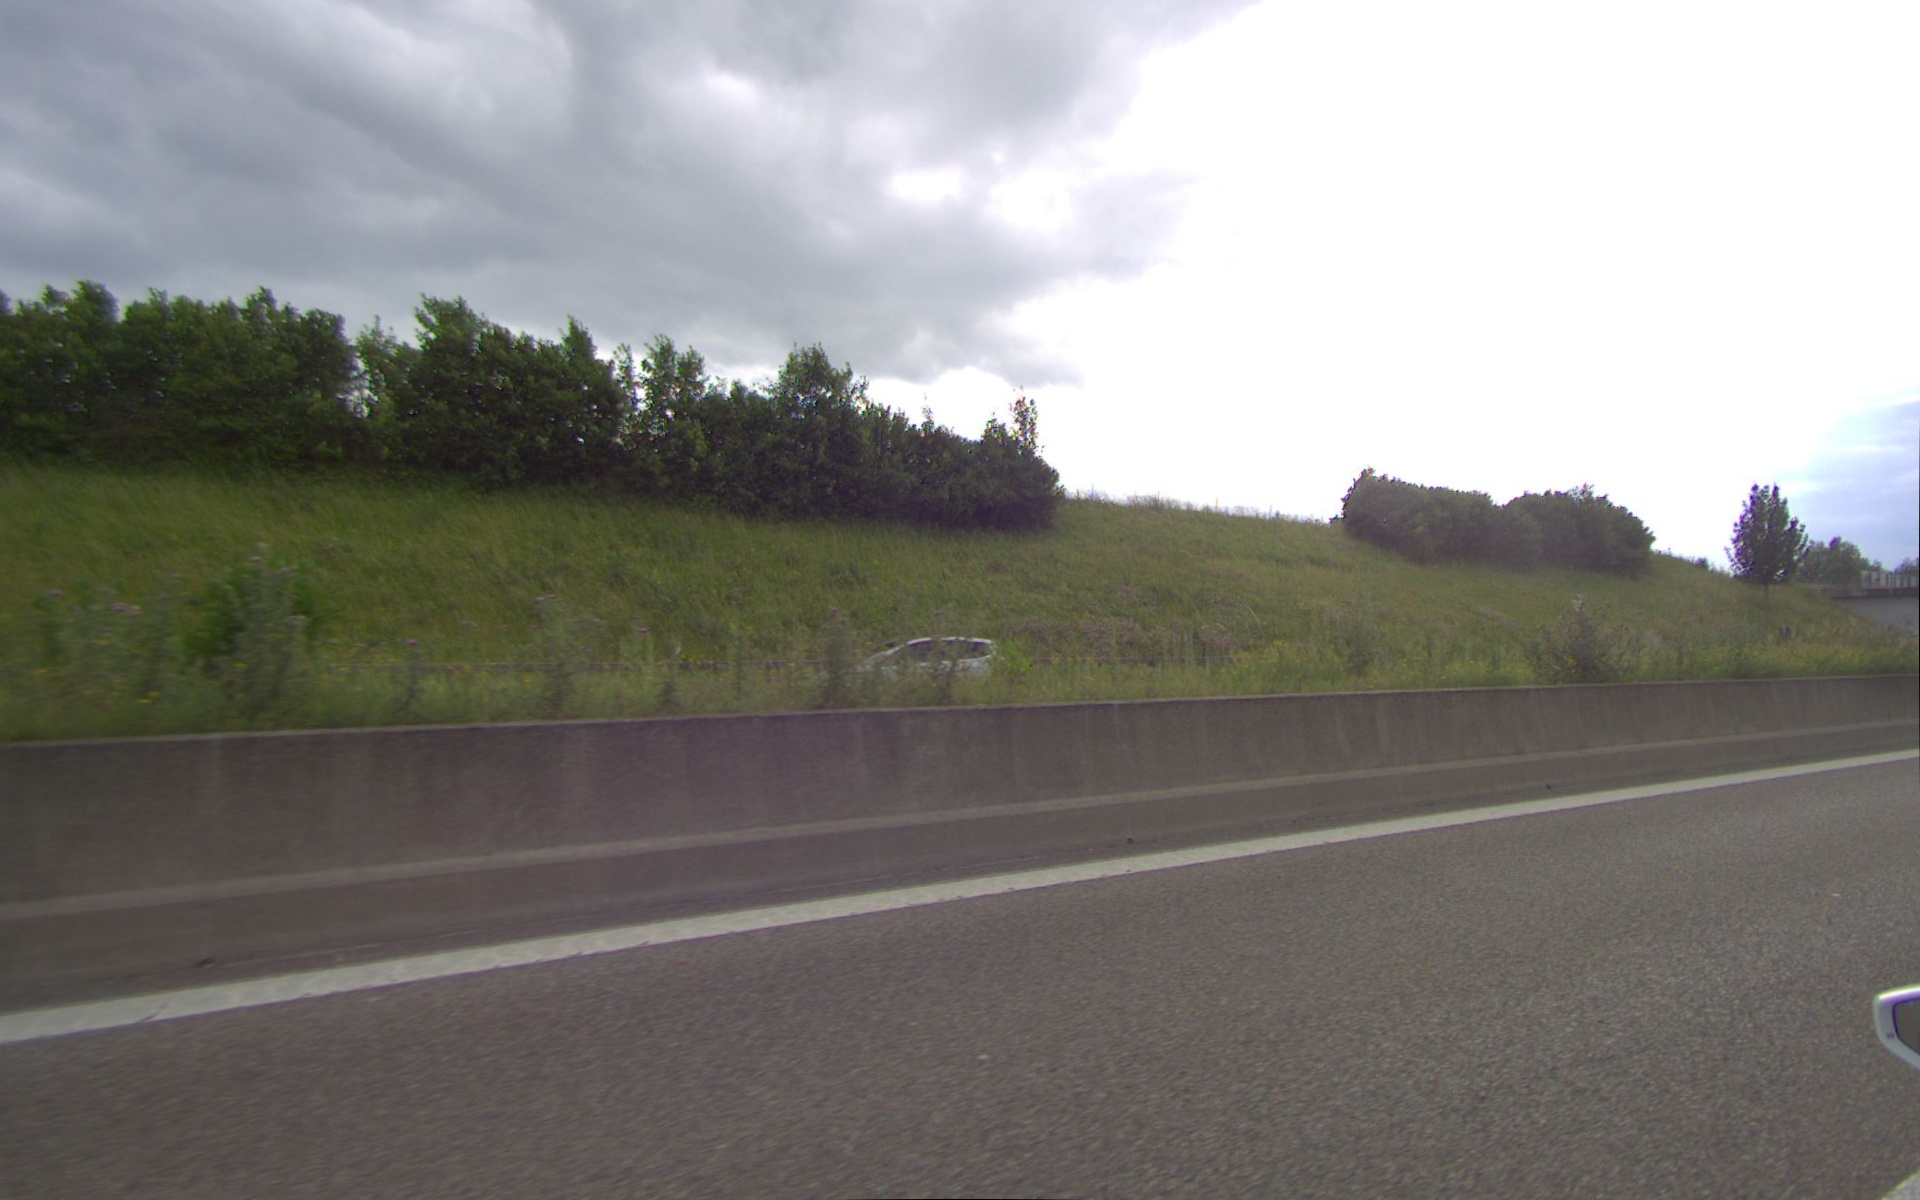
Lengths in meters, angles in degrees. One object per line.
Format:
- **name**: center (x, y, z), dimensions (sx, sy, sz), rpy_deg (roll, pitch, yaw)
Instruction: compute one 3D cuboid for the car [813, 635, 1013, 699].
- **car**: center (-0.976, 1.400, 21.682), dimensions (4.071, 1.263, 1.592), rpy_deg (1, -2, -30)
